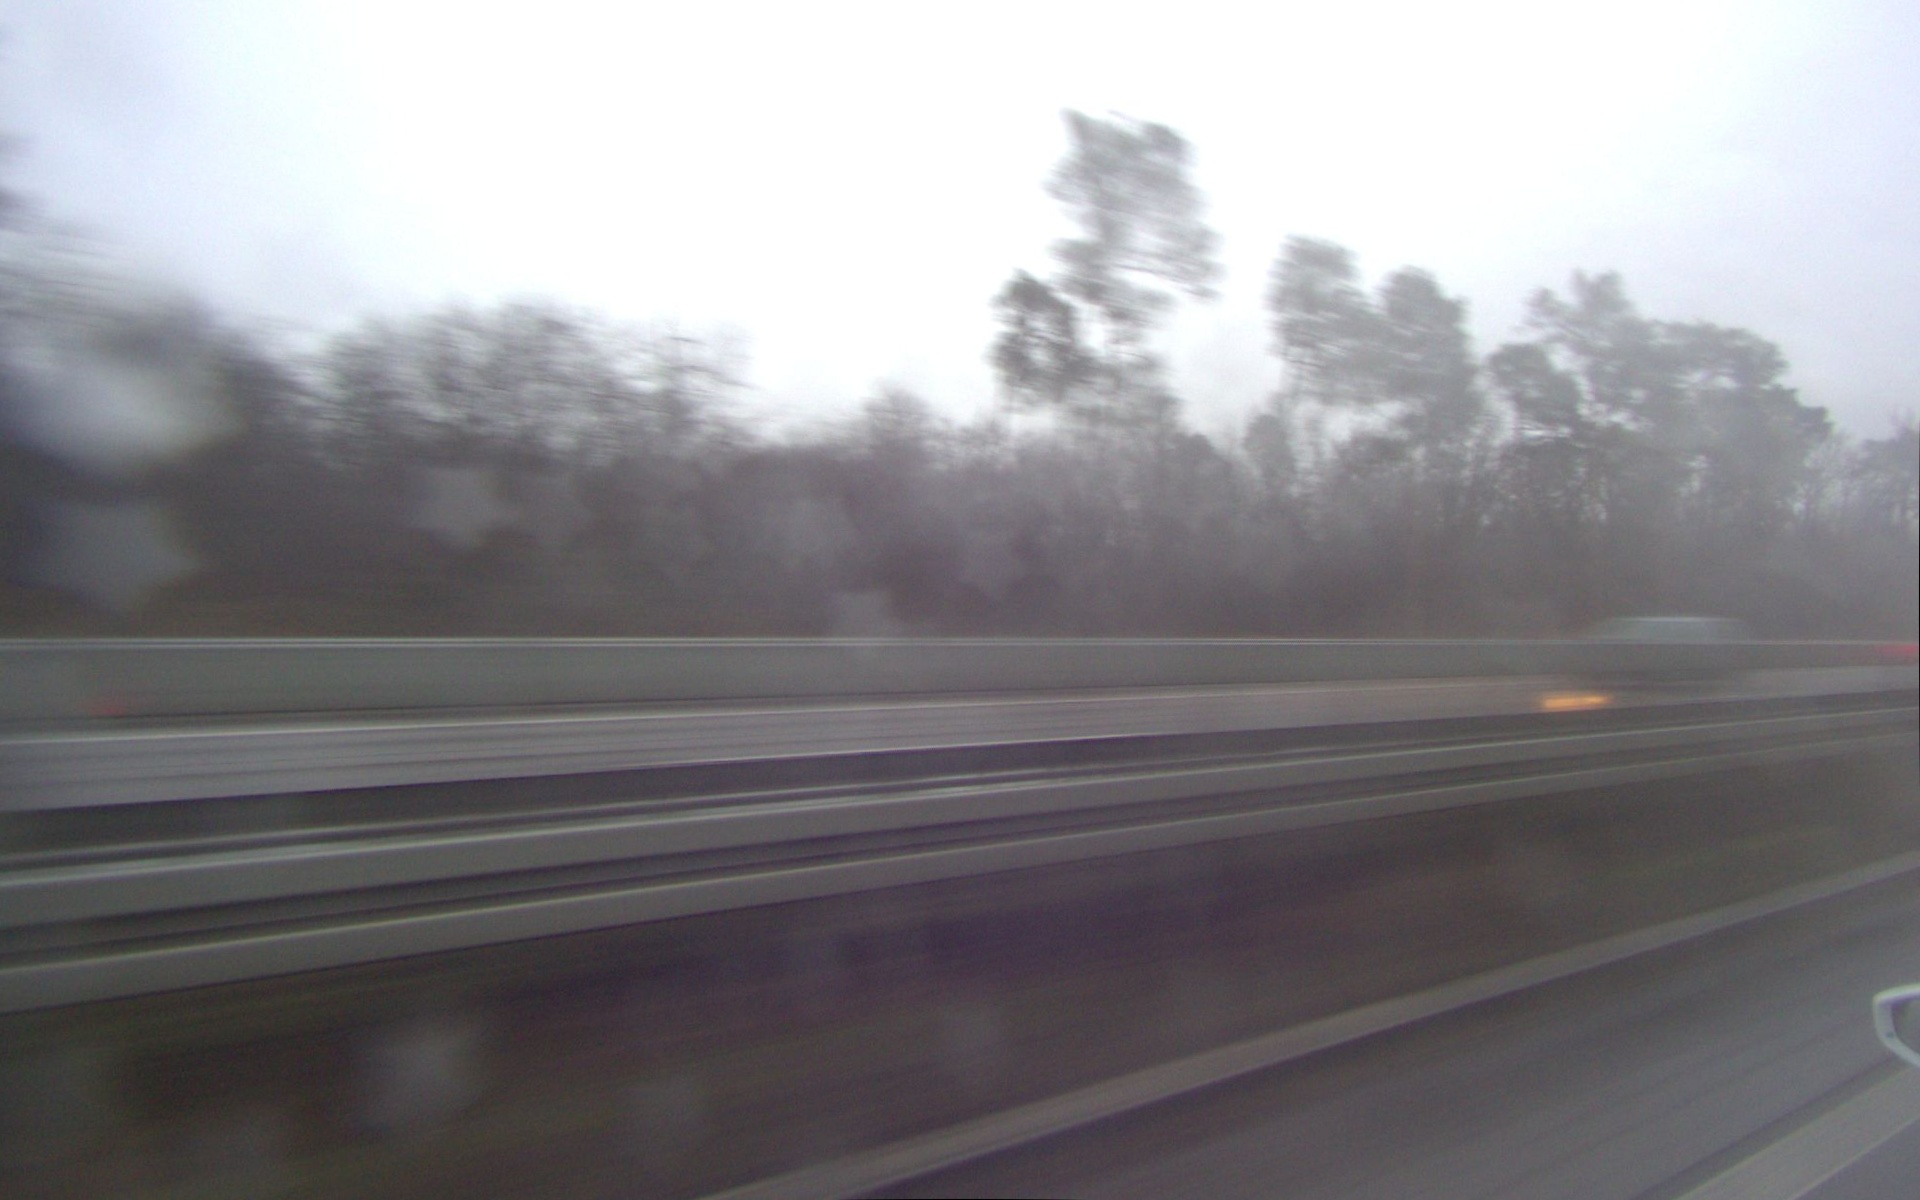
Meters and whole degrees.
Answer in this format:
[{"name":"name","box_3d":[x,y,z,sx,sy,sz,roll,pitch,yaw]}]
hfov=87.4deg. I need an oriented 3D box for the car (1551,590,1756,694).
[{"name":"car","box_3d":[15.089,0.866,21.794,4.732,2.040,1.982,1,0,-33]}]
